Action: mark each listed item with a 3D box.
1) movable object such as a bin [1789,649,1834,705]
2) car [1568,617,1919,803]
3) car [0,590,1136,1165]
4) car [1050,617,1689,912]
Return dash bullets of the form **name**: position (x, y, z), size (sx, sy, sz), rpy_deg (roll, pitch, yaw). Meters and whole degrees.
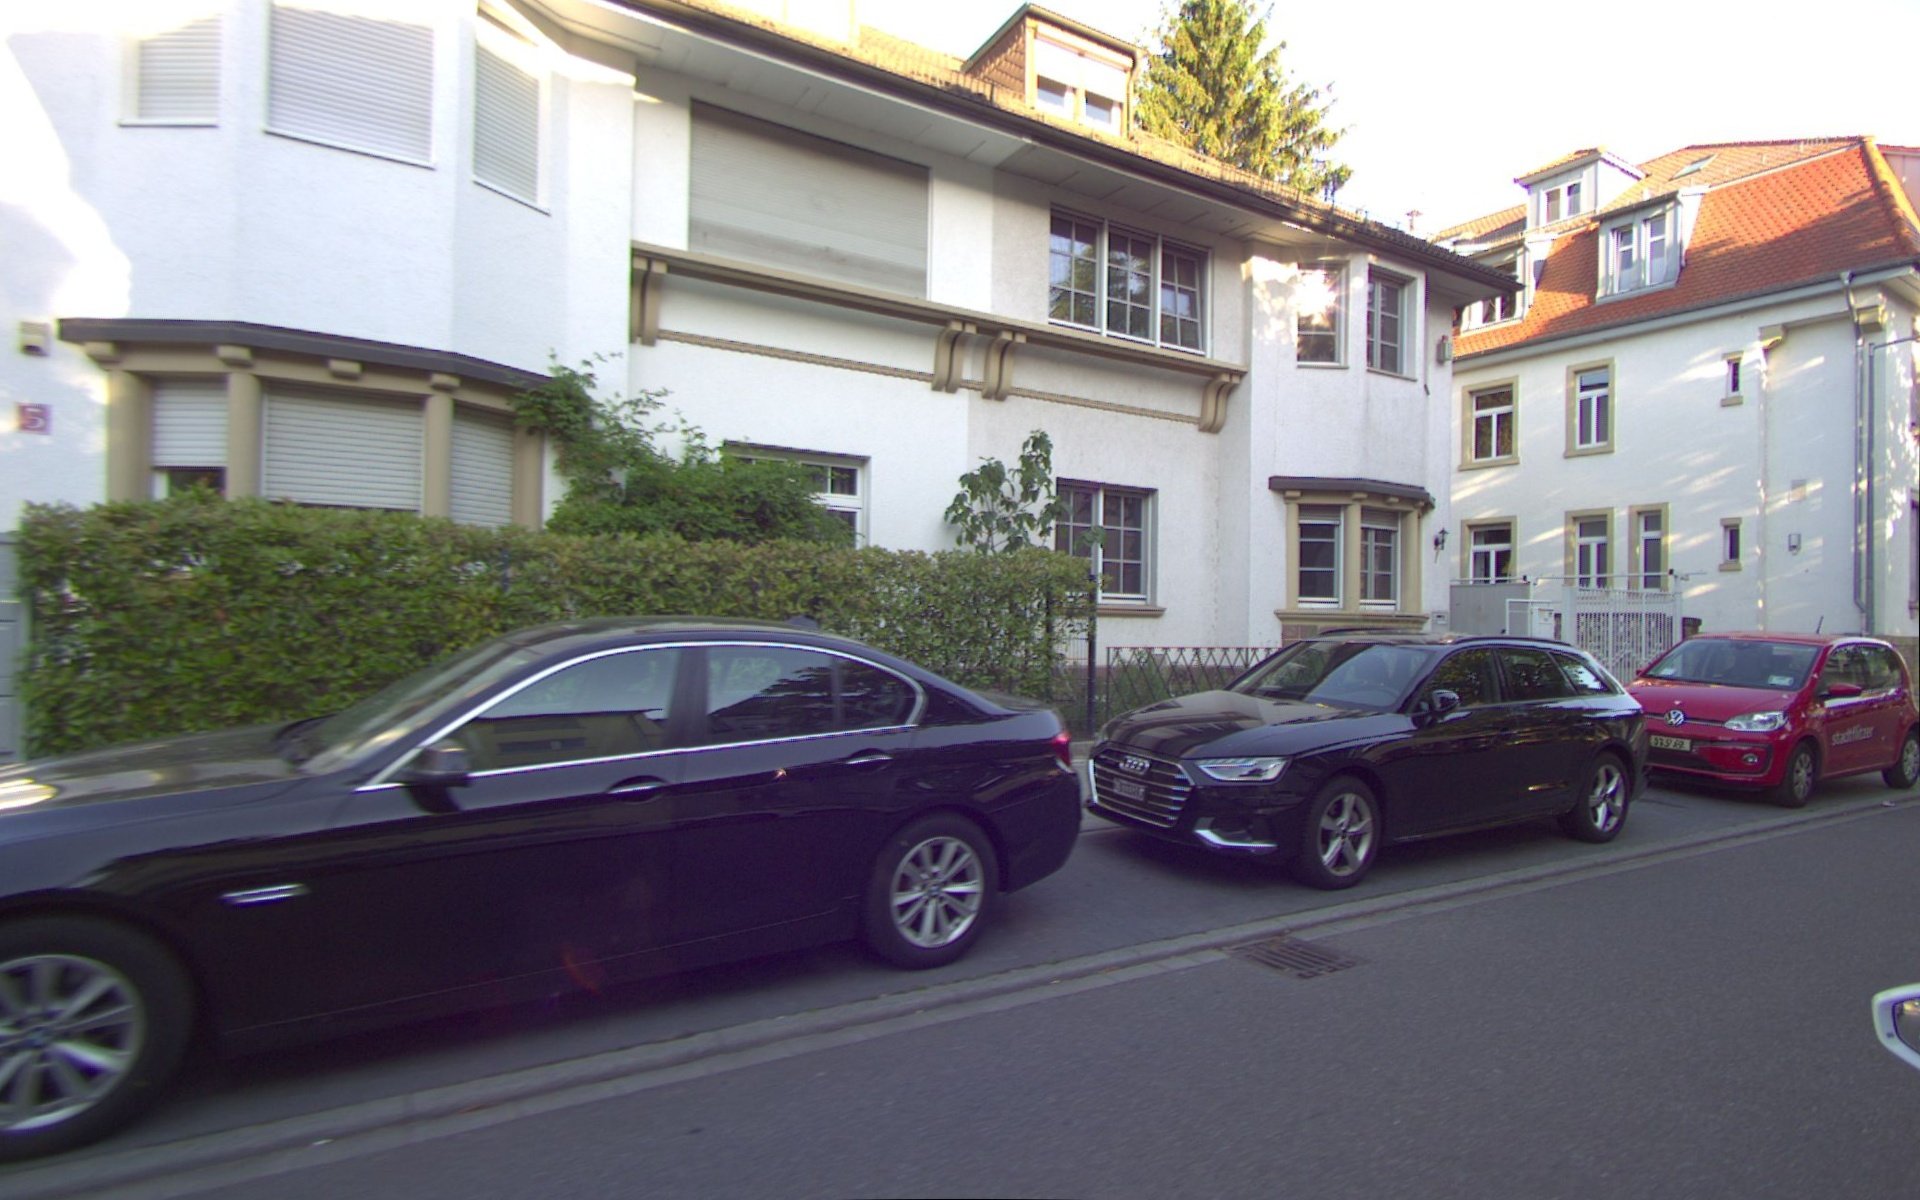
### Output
- **movable object such as a bin**: position (17.611, 1.593, 20.773), size (0.583, 1.122, 0.525), rpy_deg (3, -1, -30)
- **car**: position (7.916, 0.980, 9.965), size (3.710, 1.508, 1.651), rpy_deg (2, -1, -30)
- **car**: position (-1.567, 0.789, 4.403), size (4.606, 1.517, 1.843), rpy_deg (2, -1, -34)
- **car**: position (3.063, 0.942, 7.190), size (4.644, 1.517, 1.775), rpy_deg (2, -1, -30)
